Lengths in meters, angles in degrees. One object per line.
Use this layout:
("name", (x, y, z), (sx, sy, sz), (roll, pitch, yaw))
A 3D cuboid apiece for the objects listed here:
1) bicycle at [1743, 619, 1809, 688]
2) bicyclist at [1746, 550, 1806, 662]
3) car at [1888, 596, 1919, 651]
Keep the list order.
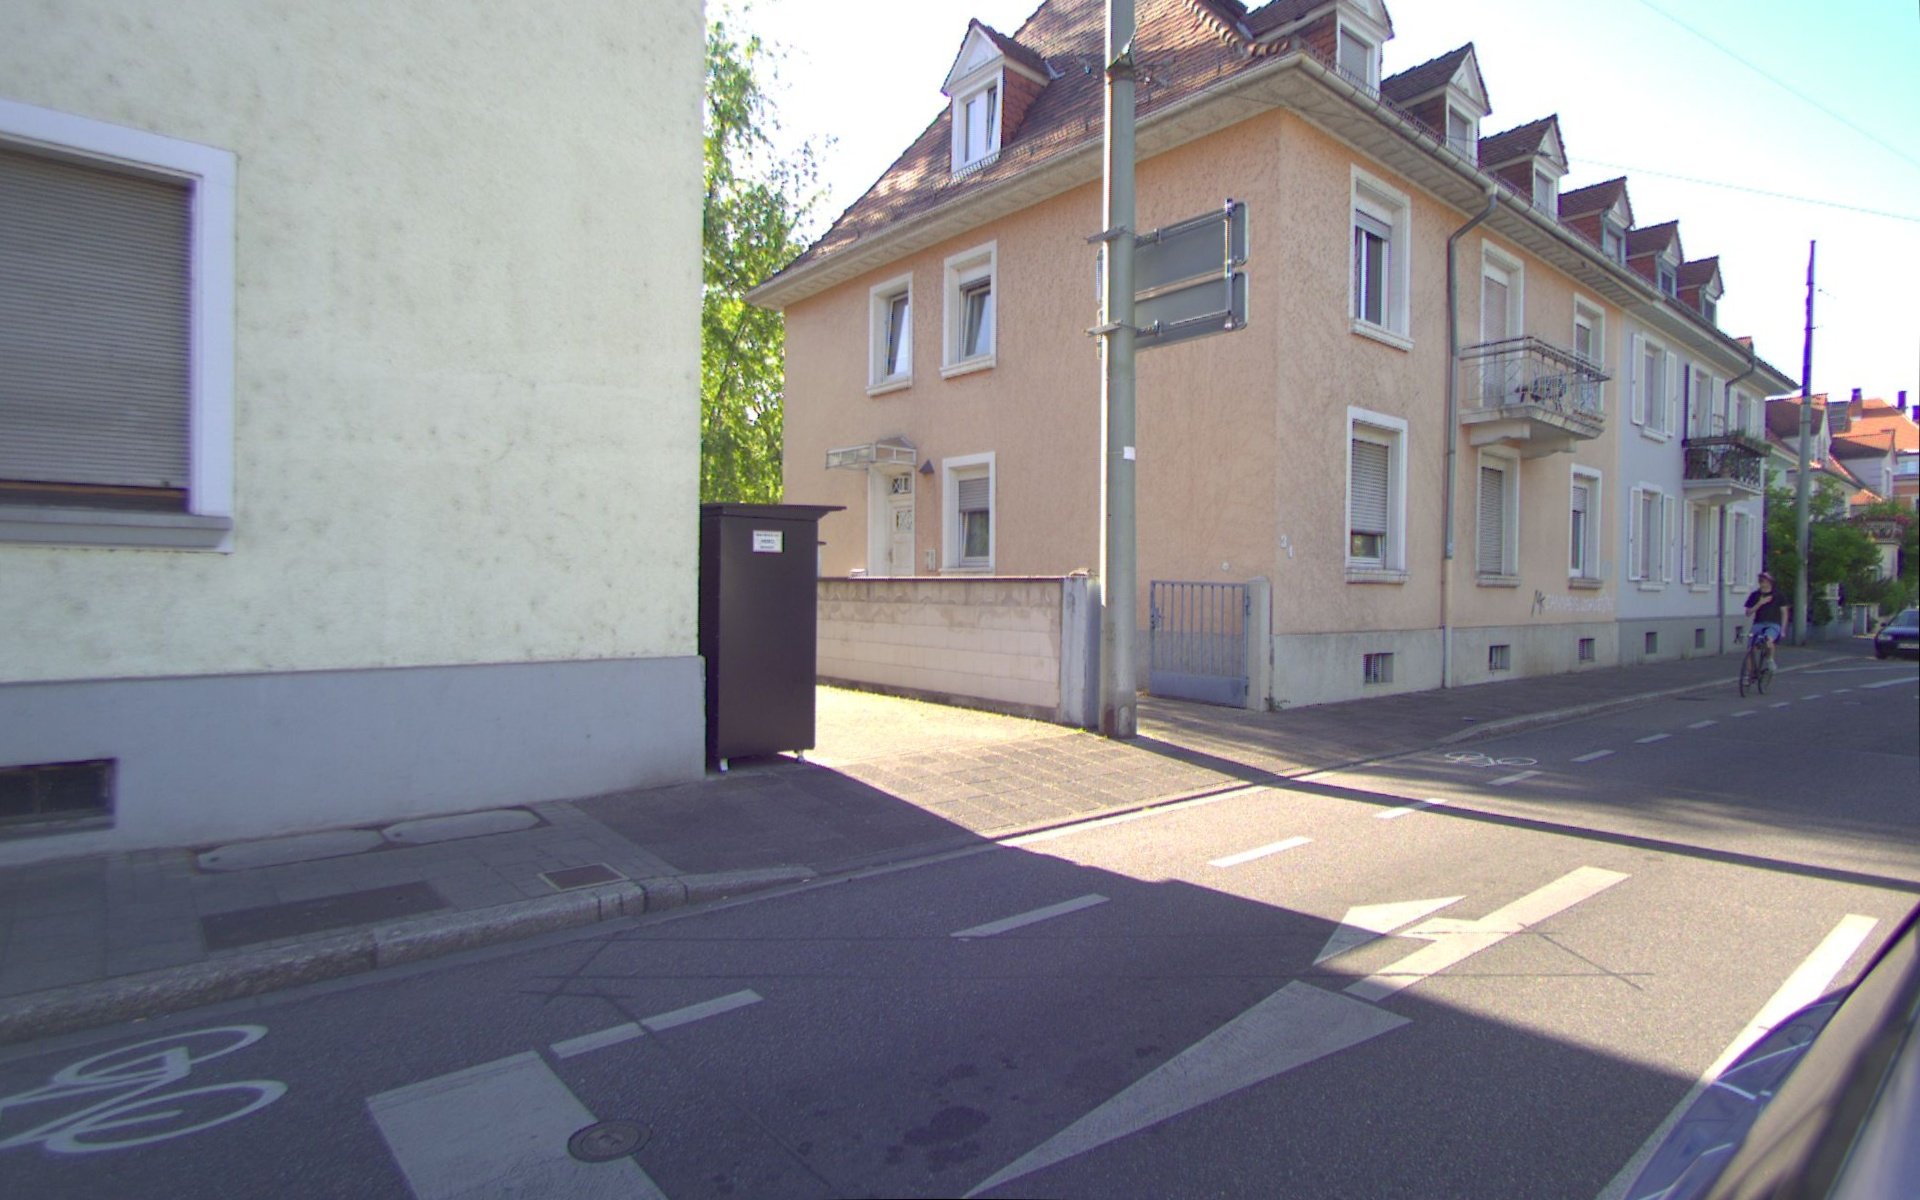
("bicycle", (13.208, 0.839, 16.365), (1.727, 1.029, 0.533), (0, 1, -41))
("bicyclist", (13.208, 0.086, 16.381), (1.065, 1.752, 0.561), (0, 0, -40))
("car", (26.723, 0.622, 27.401), (4.347, 1.425, 1.866), (0, 1, -41))
